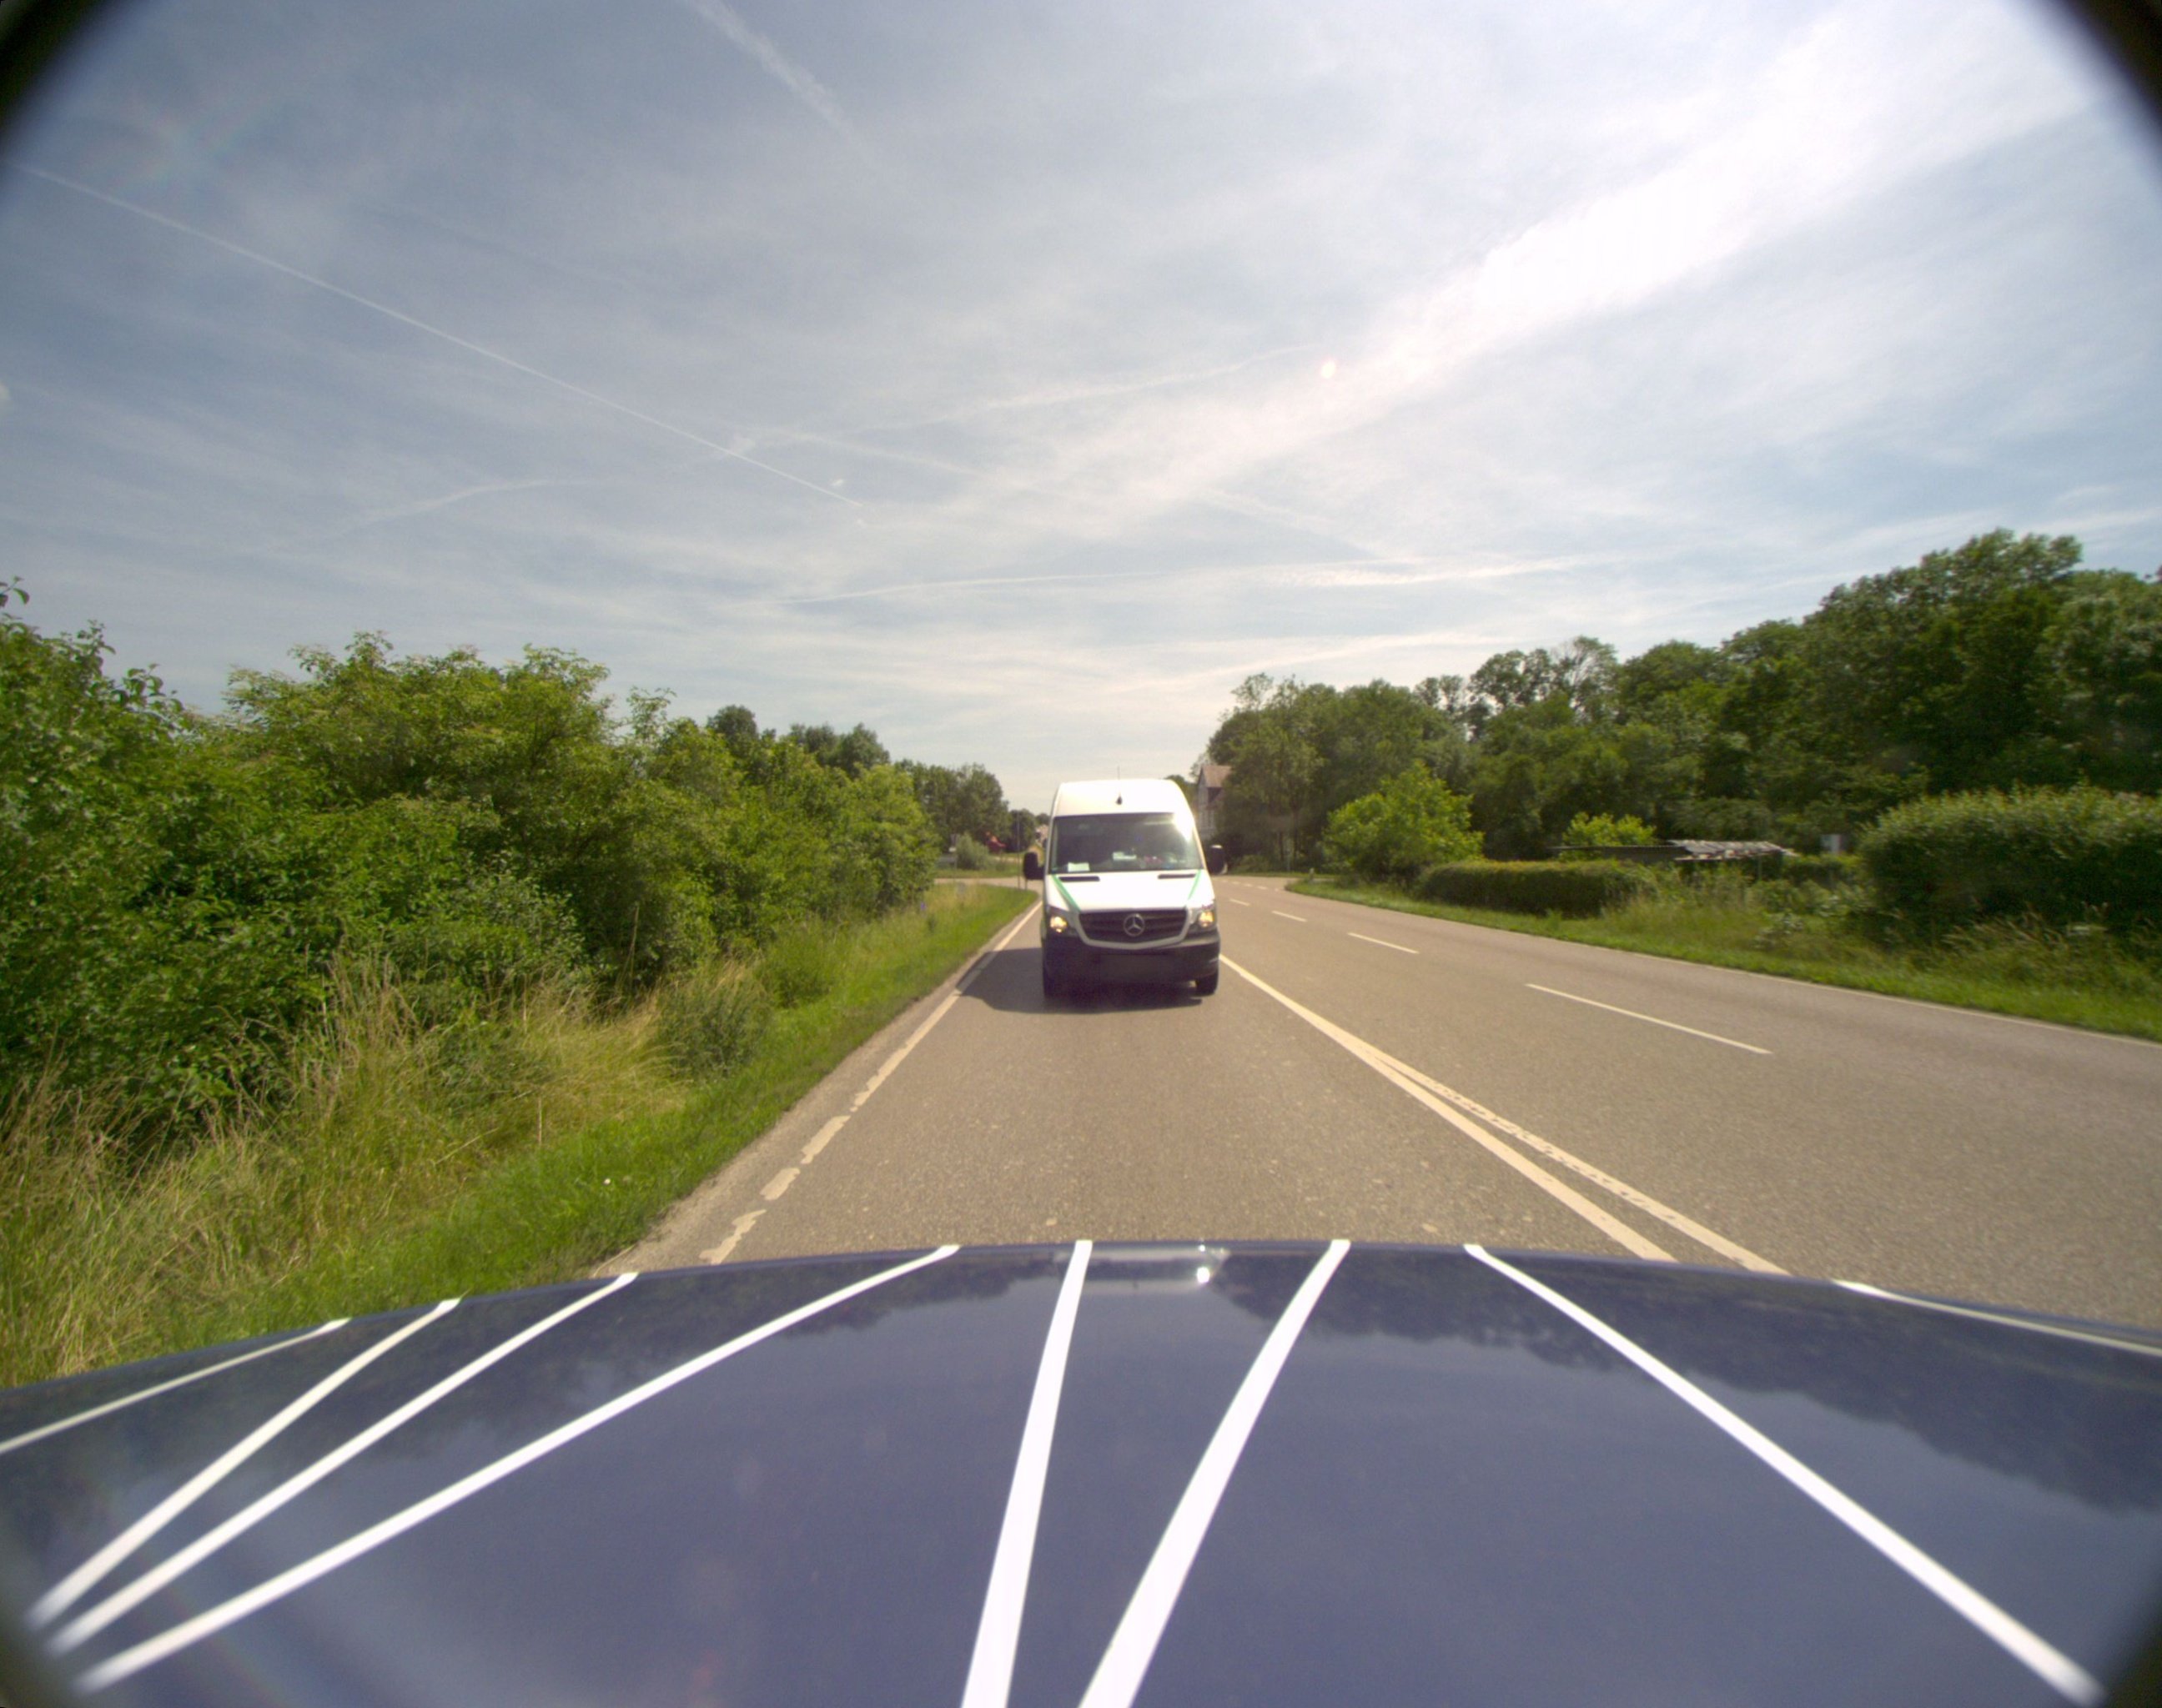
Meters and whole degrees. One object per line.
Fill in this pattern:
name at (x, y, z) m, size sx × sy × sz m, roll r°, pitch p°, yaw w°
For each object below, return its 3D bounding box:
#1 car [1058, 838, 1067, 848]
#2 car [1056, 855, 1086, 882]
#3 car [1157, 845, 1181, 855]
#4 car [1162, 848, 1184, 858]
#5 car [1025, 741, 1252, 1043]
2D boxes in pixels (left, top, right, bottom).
car at (-4.516, -2.680, 185.506) m, size 1.999 × 2.166 × 3.998 m, roll -2°, pitch 1°, yaw -1°
car at (-0.675, 0.896, 49.227) m, size 1.849 × 1.692 × 4.242 m, roll 0°, pitch 0°, yaw -2°
car at (16.083, -0.680, 138.607) m, size 4.038 × 1.609 × 1.832 m, roll -2°, pitch 2°, yaw -1°
car at (15.634, -0.158, 128.560) m, size 3.387 × 1.457 × 1.609 m, roll -2°, pitch 2°, yaw -8°
car at (0.438, 0.333, 9.658) m, size 1.961 × 2.655 × 5.679 m, roll -2°, pitch 0°, yaw -2°
